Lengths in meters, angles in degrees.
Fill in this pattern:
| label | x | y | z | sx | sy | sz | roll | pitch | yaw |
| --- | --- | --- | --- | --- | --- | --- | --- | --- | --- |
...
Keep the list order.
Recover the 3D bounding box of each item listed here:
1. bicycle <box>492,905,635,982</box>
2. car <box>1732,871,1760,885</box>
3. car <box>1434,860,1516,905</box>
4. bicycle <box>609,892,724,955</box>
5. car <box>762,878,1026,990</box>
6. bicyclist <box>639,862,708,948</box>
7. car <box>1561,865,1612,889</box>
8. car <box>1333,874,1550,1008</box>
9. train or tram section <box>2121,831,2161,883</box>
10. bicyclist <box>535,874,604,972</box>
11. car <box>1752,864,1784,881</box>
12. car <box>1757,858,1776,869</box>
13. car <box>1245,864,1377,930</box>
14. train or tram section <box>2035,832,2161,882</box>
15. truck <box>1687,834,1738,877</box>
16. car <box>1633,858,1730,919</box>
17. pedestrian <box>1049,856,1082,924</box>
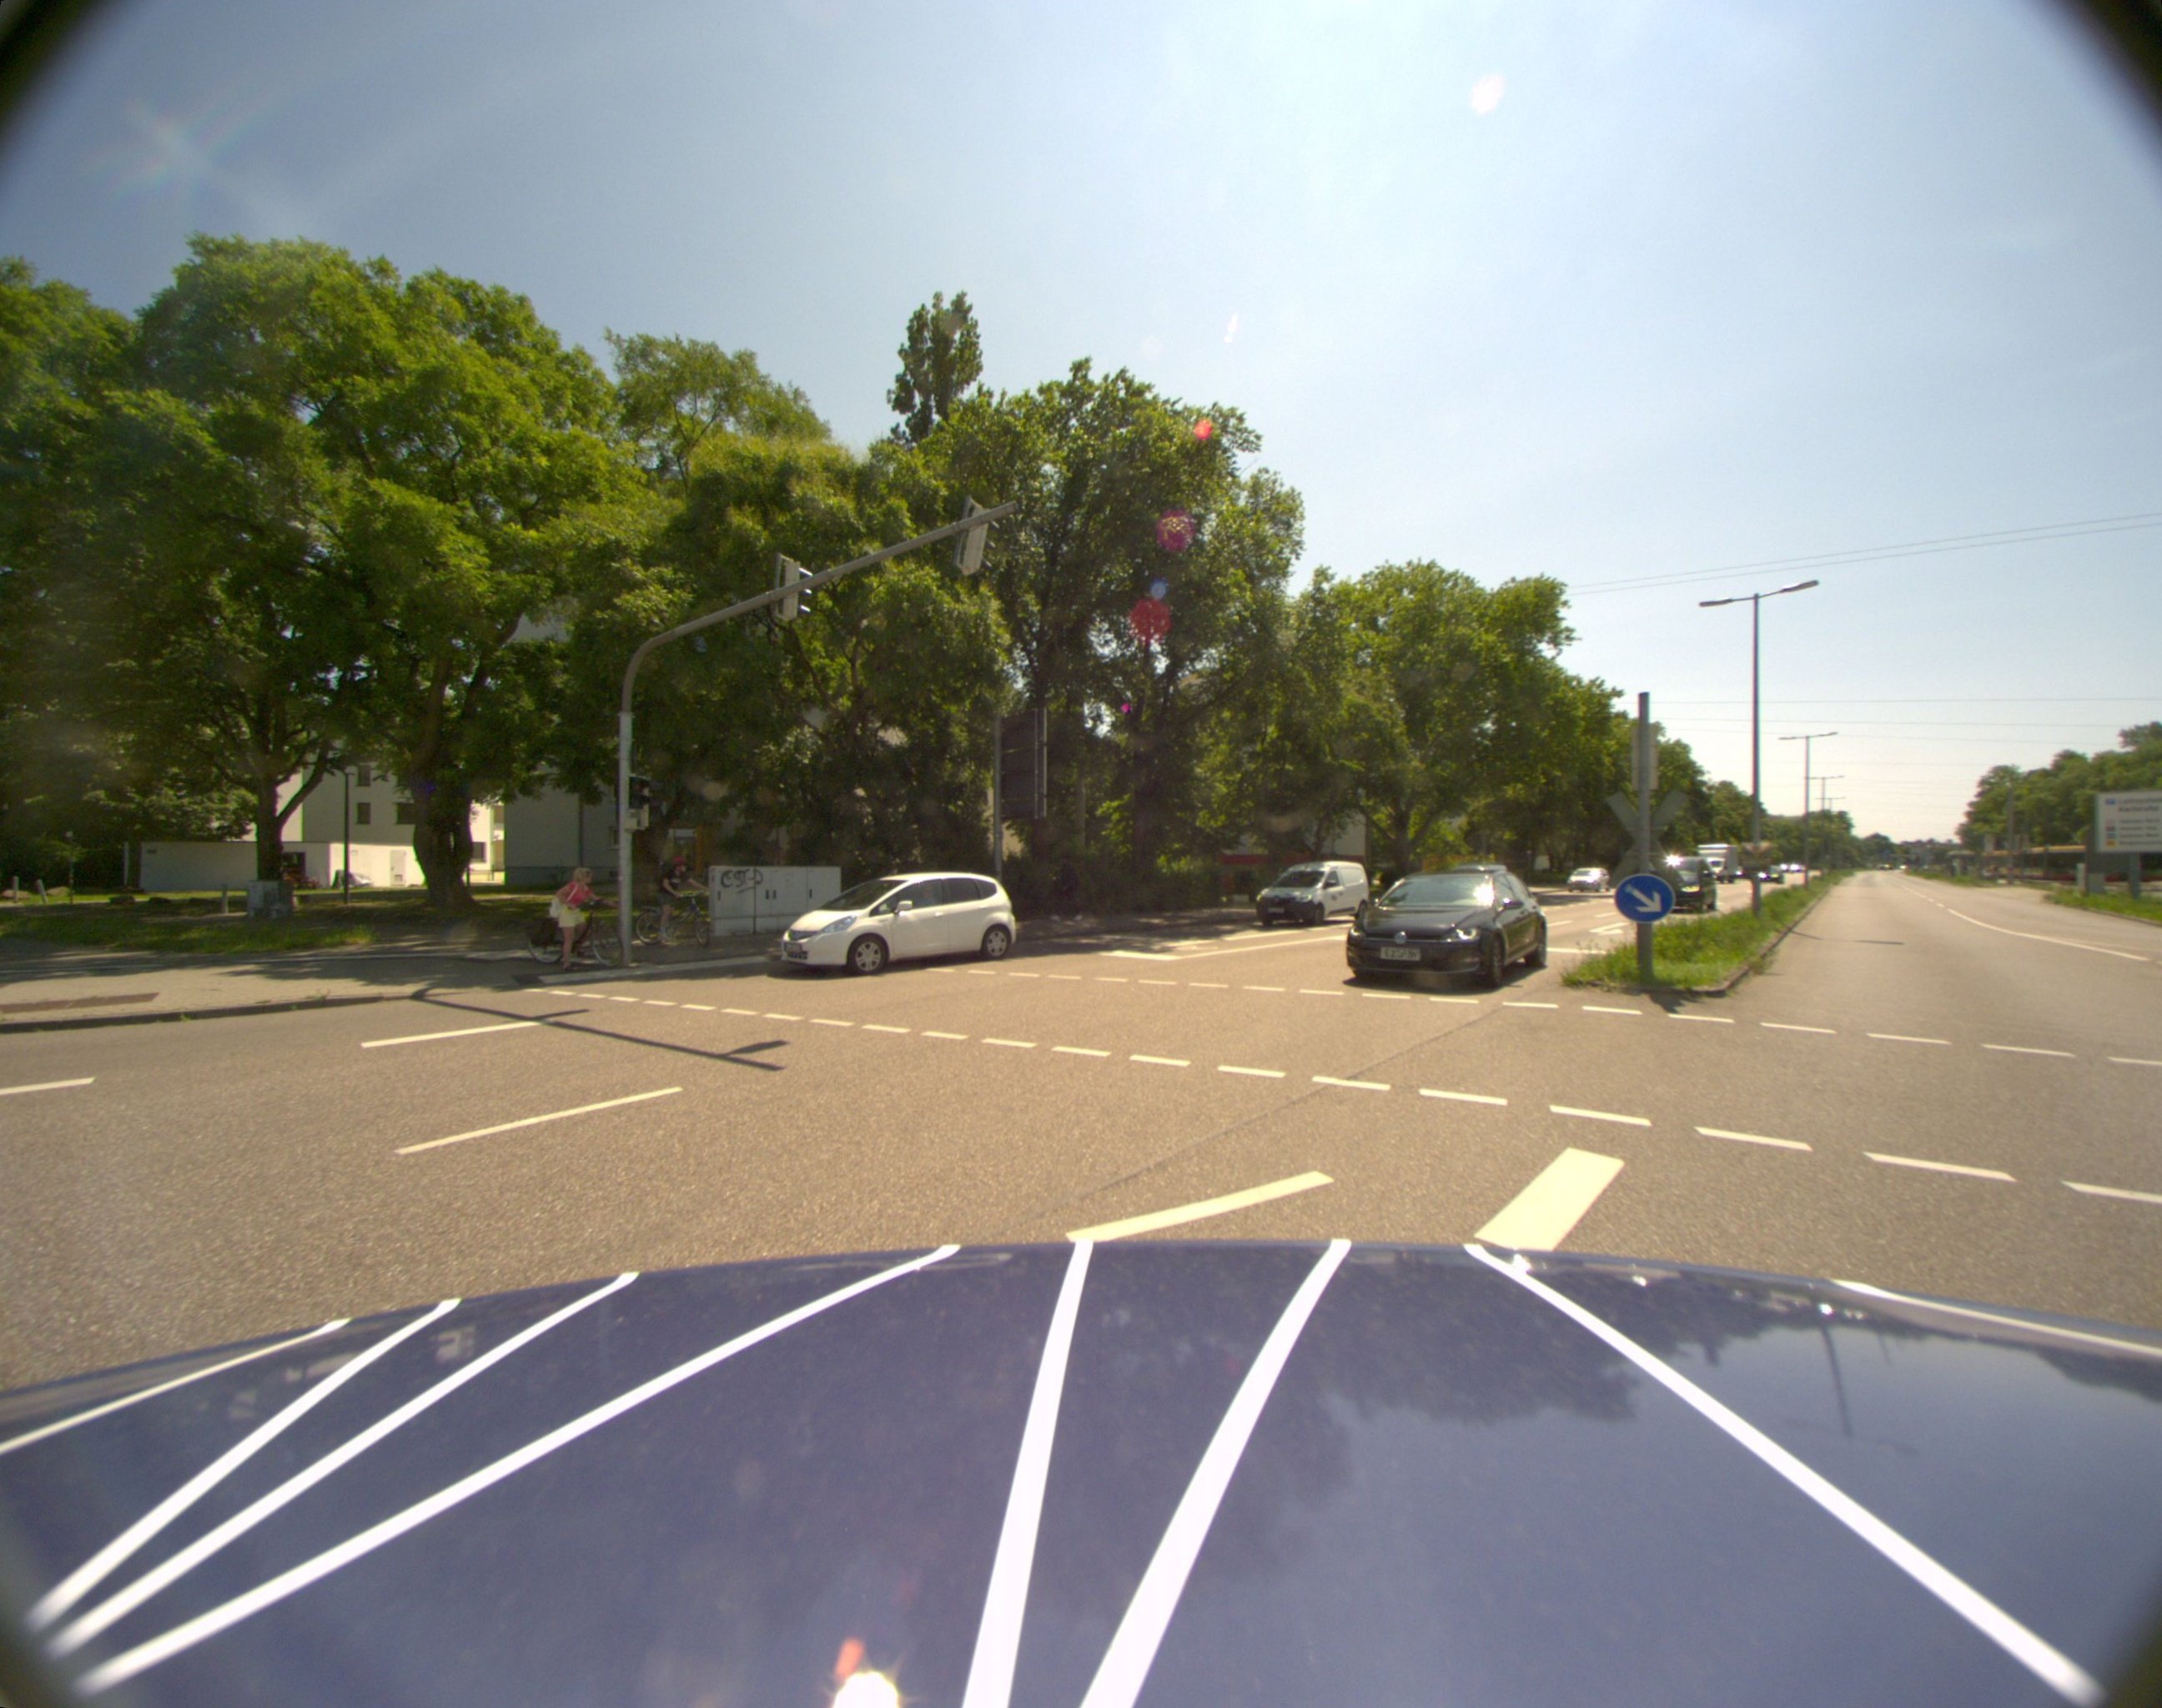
| label | x | y | z | sx | sy | sz | roll | pitch | yaw |
| --- | --- | --- | --- | --- | --- | --- | --- | --- | --- |
| bicycle | -8.103 | 1.389 | 11.932 | 1.804 | 1.057 | 0.616 | 2 | 1 | 0 |
| car | 66.877 | 2.391 | 76.382 | 1.882 | 1.279 | 4.009 | -3 | -2 | 43 |
| car | 17.006 | 1.215 | 32.699 | 1.892 | 1.782 | 4.402 | -3 | -2 | 44 |
| bicycle | -7.797 | 1.302 | 14.347 | 1.804 | 1.057 | 0.616 | 2 | 1 | 0 |
| car | -2.945 | 1.166 | 12.534 | 1.727 | 1.495 | 3.907 | -1 | -1 | 43 |
| bicyclist | -7.684 | 0.940 | 14.345 | 0.909 | 1.536 | 0.647 | 2 | 1 | 0 |
| car | 31.891 | 1.427 | 47.893 | 4.224 | 1.416 | 1.844 | 0 | -1 | -45 |
| car | 5.086 | 1.010 | 10.420 | 1.705 | 1.396 | 4.062 | -2 | -1 | 40 |
| train or tram section | 88.444 | 0.165 | 58.362 | 3.020 | 4.229 | 12.770 | 0 | -1 | 17 |
| bicyclist | -8.020 | 1.065 | 11.932 | 0.629 | 1.460 | 0.616 | 2 | 1 | 0 |
| car | 54.502 | 1.457 | 60.238 | 1.742 | 1.279 | 4.009 | -3 | -2 | 43 |
| car | 119.832 | 1.671 | 132.803 | 4.008 | 1.721 | 1.995 | 0 | -2 | -41 |
| car | 6.778 | 1.172 | 22.102 | 4.352 | 1.707 | 1.806 | 0 | -1 | -45 |
| train or tram section | 93.335 | 0.401 | 69.627 | 3.018 | 4.229 | 12.778 | -1 | -2 | 31 |
| truck | 55.125 | 0.131 | 66.234 | 7.728 | 3.511 | 2.581 | 0 | -2 | -45 |
| car | 21.016 | 1.112 | 26.522 | 4.856 | 1.920 | 1.937 | 0 | 0 | -43 |
| pedestrian | -0.423 | 0.976 | 20.844 | 0.606 | 1.824 | 0.680 | 1 | 1 | 43 |
